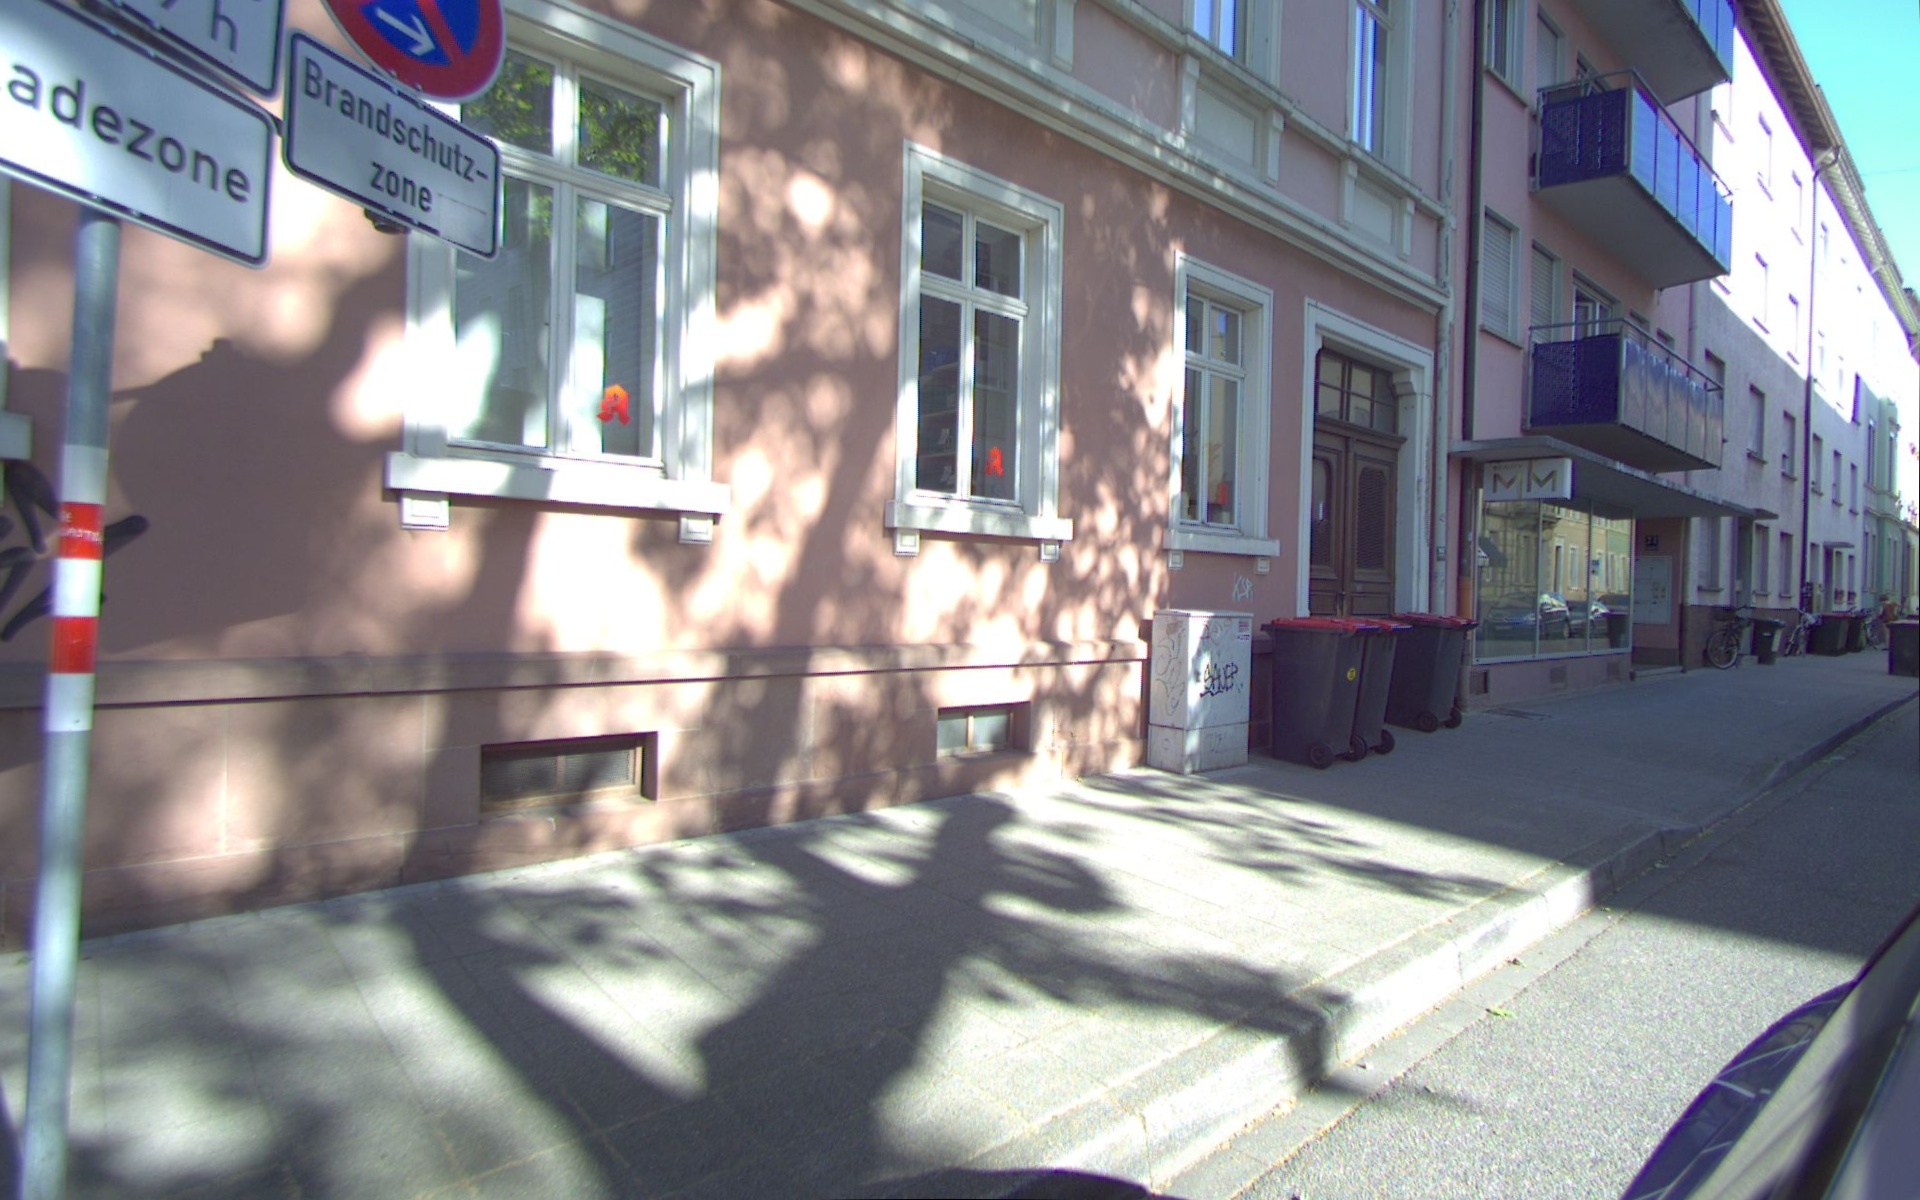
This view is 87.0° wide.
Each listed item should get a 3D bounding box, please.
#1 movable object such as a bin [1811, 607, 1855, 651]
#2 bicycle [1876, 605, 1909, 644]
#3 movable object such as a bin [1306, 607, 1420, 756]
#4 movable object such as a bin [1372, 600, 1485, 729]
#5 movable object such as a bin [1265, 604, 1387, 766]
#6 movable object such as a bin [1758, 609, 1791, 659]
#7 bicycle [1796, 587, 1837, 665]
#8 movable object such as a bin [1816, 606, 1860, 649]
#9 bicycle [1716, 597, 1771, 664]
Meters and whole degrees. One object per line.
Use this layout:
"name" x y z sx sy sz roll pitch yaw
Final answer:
"movable object such as a bin" 21.458 0.695 24.879 0.537 1.014 0.716 1 3 -43
"bicycle" 27.846 0.714 30.207 1.899 1.110 0.489 0 1 -41
"movable object such as a bin" 3.175 0.610 7.975 0.601 1.071 0.570 1 3 -43
"movable object such as a bin" 4.390 0.577 9.492 0.608 1.097 0.717 1 3 -43
"movable object such as a bin" 2.730 0.601 7.556 0.643 1.097 0.570 1 3 -43
"movable object such as a bin" 16.374 0.679 20.350 0.297 0.951 0.416 1 3 -43
"bicycle" 20.139 0.601 23.776 2.070 1.757 0.402 1 1 -41
"movable object such as a bin" 22.057 0.681 25.415 0.537 1.014 0.716 1 3 -43
"bicycle" 14.366 0.542 18.543 1.989 1.165 0.402 0 1 -41
